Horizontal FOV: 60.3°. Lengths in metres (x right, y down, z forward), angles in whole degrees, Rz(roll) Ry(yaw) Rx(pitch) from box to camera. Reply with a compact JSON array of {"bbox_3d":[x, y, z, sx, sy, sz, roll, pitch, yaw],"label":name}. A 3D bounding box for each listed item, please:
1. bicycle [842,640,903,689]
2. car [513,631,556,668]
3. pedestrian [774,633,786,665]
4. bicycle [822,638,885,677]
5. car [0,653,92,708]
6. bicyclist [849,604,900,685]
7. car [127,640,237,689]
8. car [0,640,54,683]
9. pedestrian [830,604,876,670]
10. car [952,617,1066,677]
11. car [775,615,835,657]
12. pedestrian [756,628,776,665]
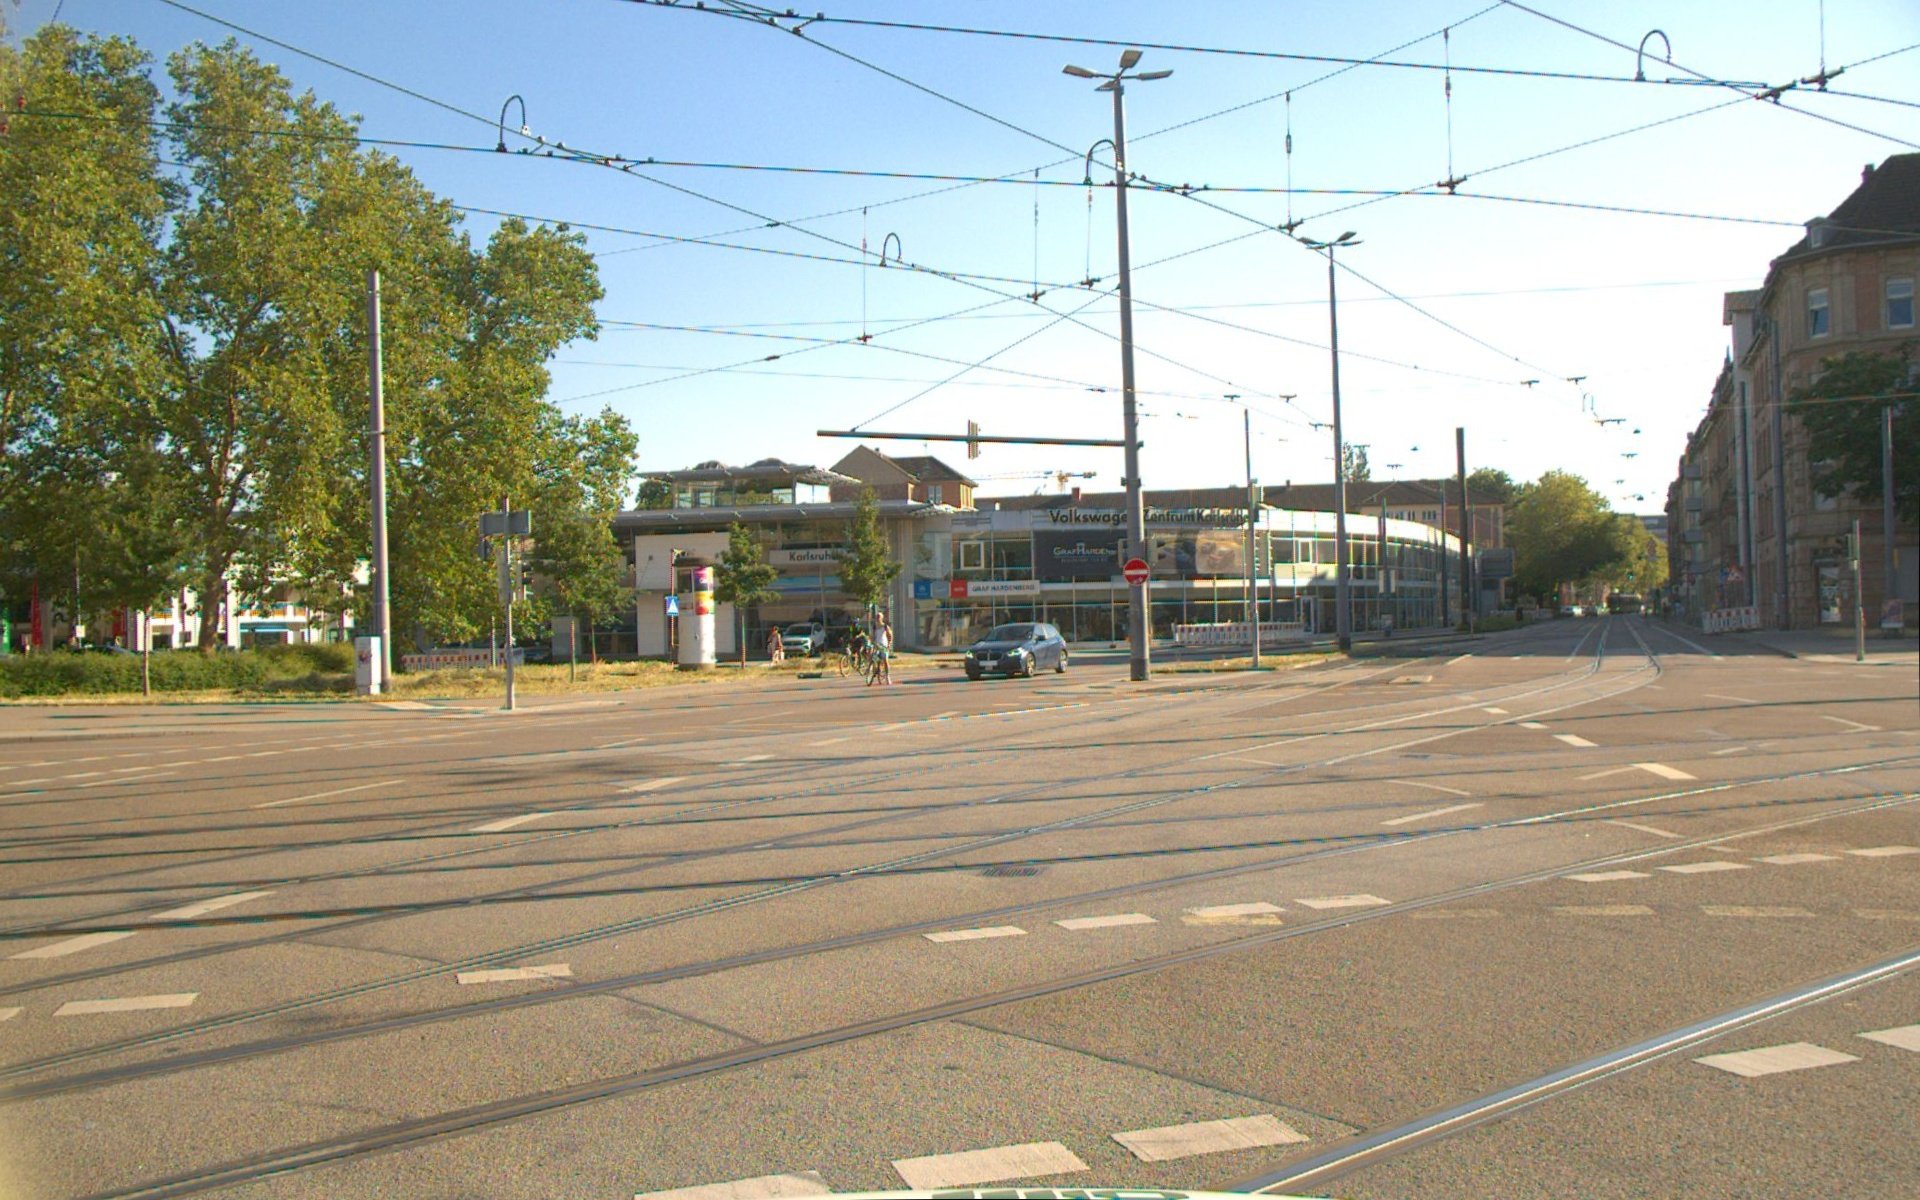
[{"bbox_3d":[-2.270,1.677,43.335,1.009,1.143,2.533,-3,-1,10],"label":"bicycle"},{"bbox_3d":[-22.249,2.569,86.394,1.767,1.536,3.979,1,3,-20],"label":"car"},{"bbox_3d":[-7.601,2.065,69.813,0.402,1.338,0.573,-2,-1,3],"label":"pedestrian"},{"bbox_3d":[-3.351,1.801,52.421,1.010,1.143,2.531,1,0,21],"label":"bicycle"},{"bbox_3d":[-28.621,2.449,50.225,3.946,1.537,1.781,0,0,-31],"label":"car"},{"bbox_3d":[-2.234,1.167,43.438,1.009,2.049,1.145,-3,-1,10],"label":"bicyclist"},{"bbox_3d":[-33.661,2.794,71.633,3.916,2.034,1.851,1,0,-12],"label":"car"},{"bbox_3d":[-42.874,2.710,73.703,3.913,1.811,1.852,1,0,-9],"label":"car"},{"bbox_3d":[-3.380,1.166,52.317,1.010,2.049,1.270,1,-1,22],"label":"pedestrian"},{"bbox_3d":[1.380,1.248,44.946,1.952,1.478,4.001,-2,-1,19],"label":"car"},{"bbox_3d":[-7.873,1.806,84.406,1.951,2.049,4.003,1,0,11],"label":"car"},{"bbox_3d":[-8.178,1.945,69.769,0.706,1.542,0.832,-2,-1,3],"label":"pedestrian"}]
